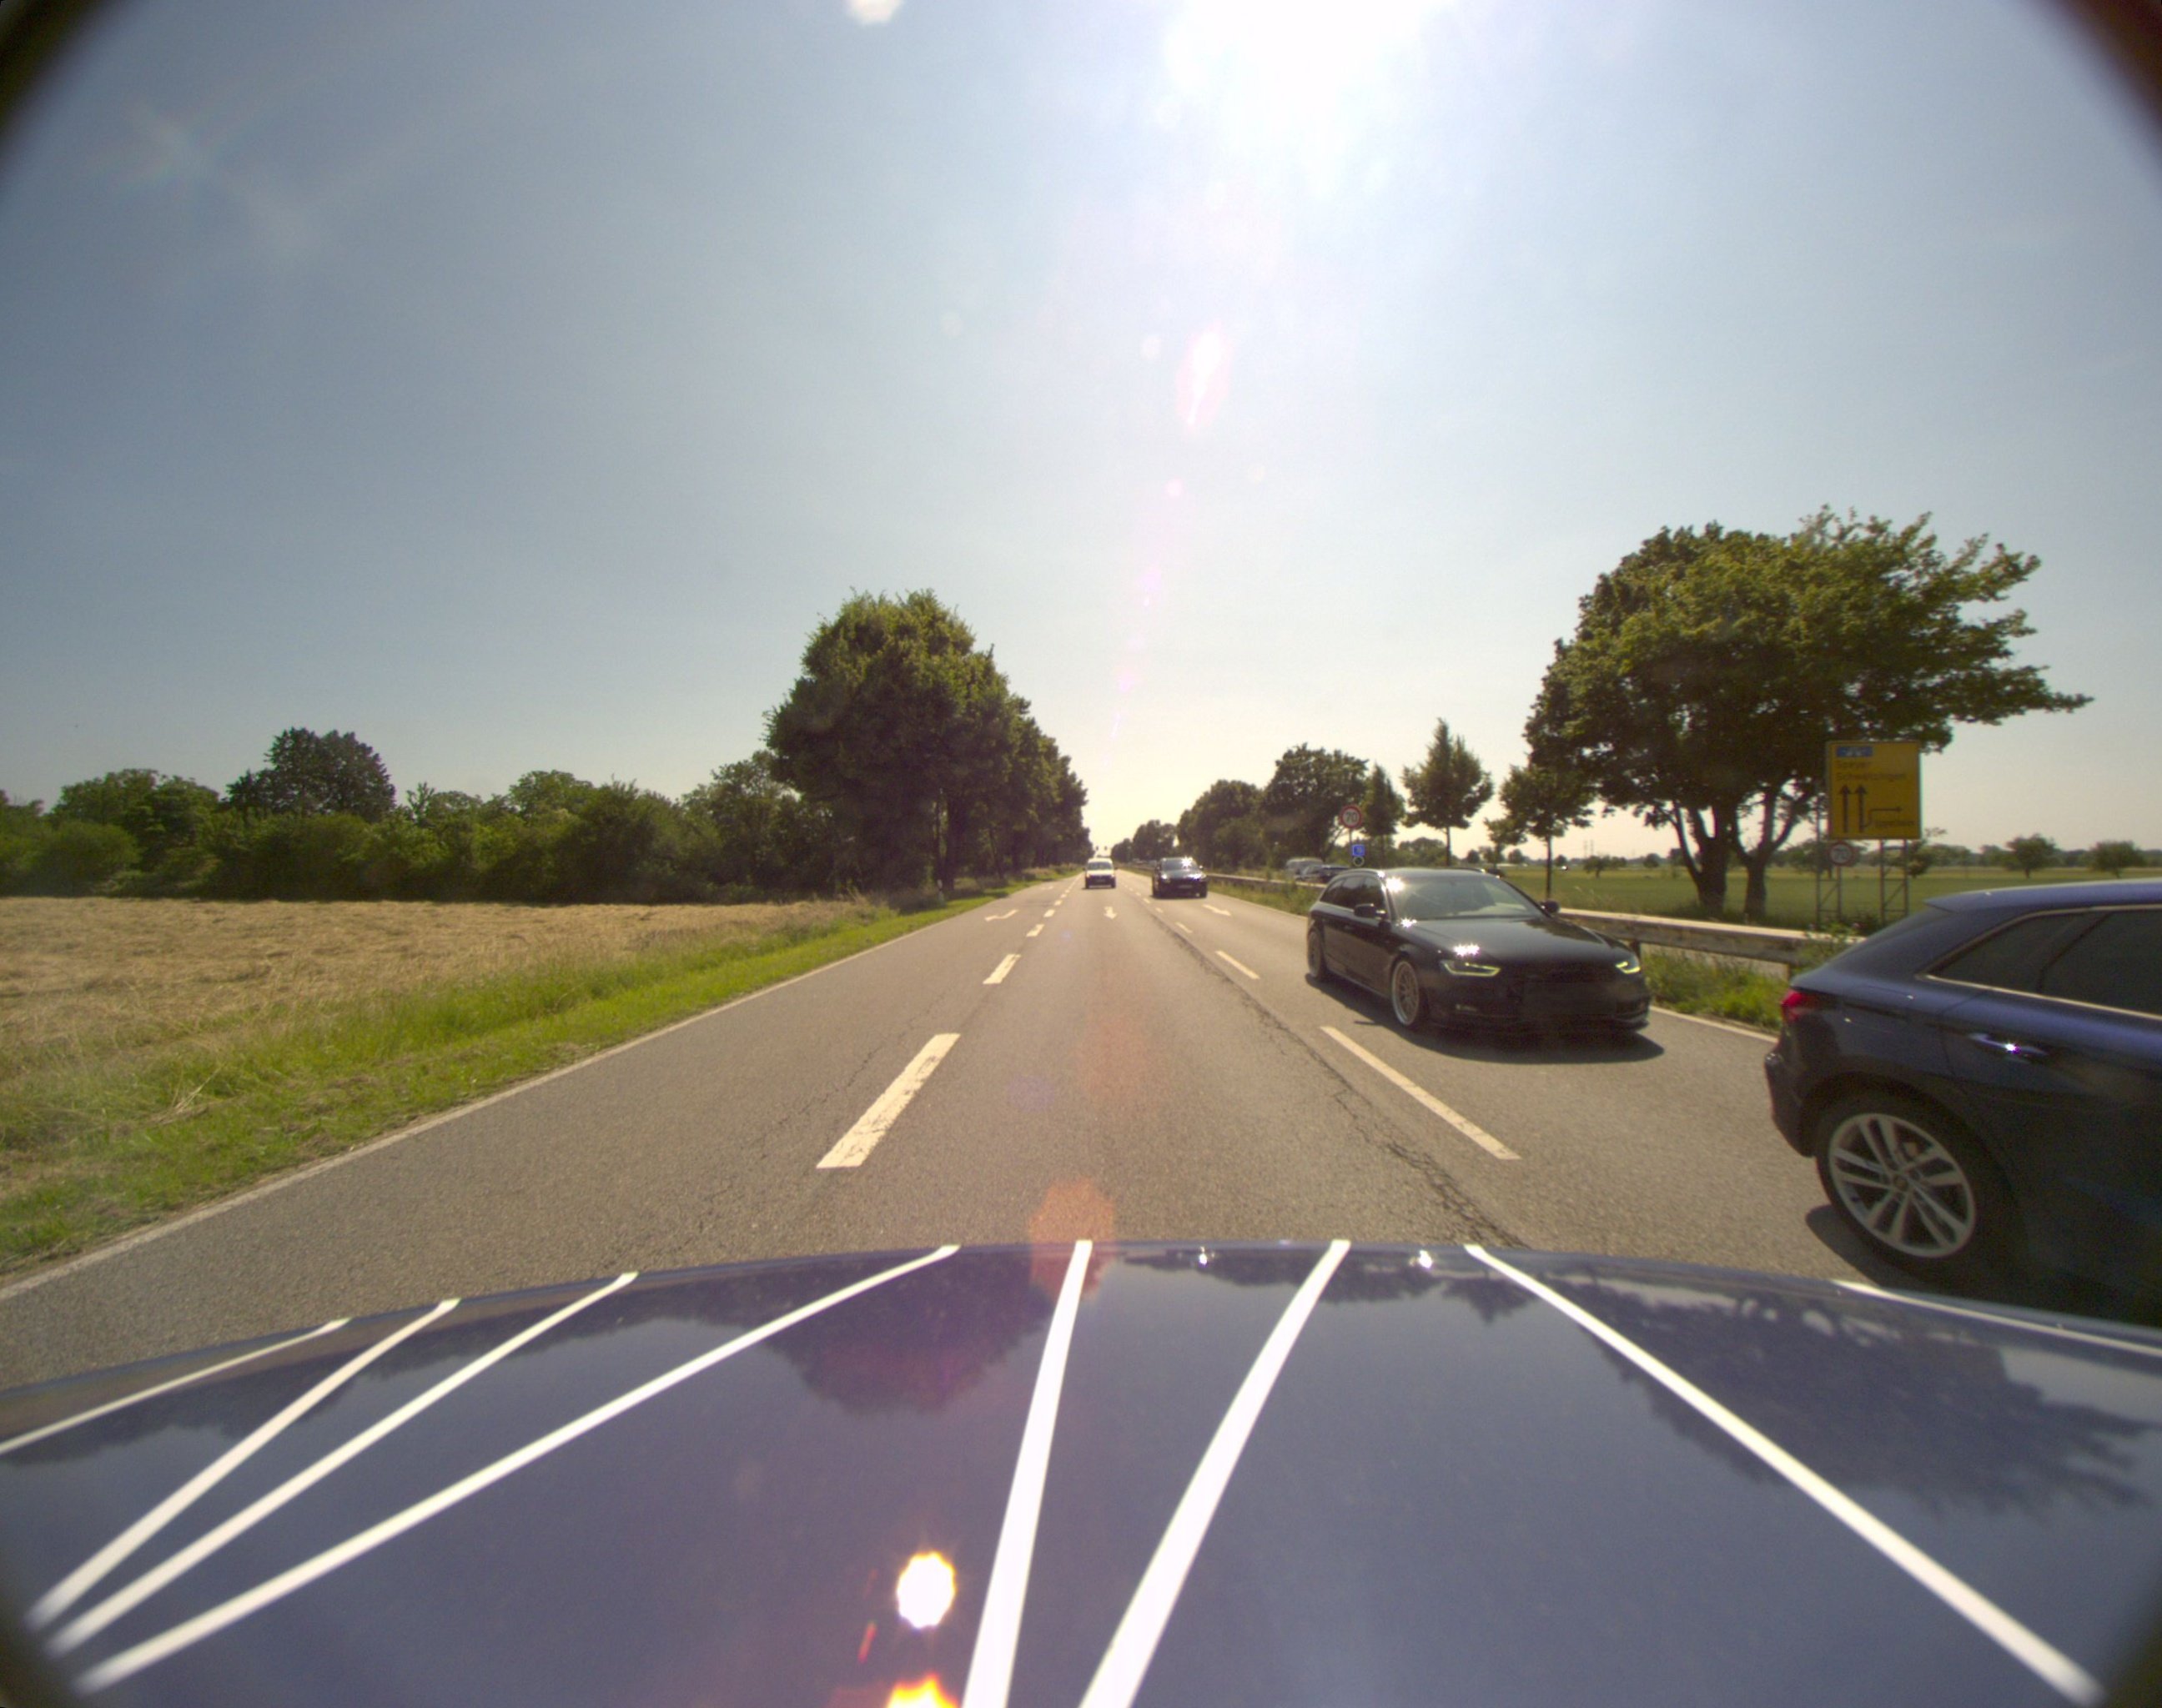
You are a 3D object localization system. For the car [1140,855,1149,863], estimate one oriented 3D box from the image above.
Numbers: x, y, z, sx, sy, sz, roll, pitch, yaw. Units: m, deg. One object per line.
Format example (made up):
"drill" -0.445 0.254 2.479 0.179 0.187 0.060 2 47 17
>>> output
"car" 17.003 1.420 203.907 2.043 2.002 4.532 0 0 0

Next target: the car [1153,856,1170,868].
"car" 11.544 1.185 108.907 1.998 1.653 4.480 0 0 0

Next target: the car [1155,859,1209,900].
"car" 4.116 1.007 31.512 1.860 1.507 4.101 -1 0 3

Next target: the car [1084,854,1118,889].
"car" 1.142 0.959 44.110 1.777 1.863 4.581 -2 0 1

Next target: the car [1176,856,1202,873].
"car" 10.764 1.039 76.067 1.998 1.593 4.481 0 0 0

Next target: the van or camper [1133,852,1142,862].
"van or camper" 17.580 1.007 236.386 2.391 2.931 7.092 0 0 1

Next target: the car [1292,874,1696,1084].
"car" 3.623 0.971 7.755 1.744 1.372 4.455 -2 0 1

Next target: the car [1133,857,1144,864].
"car" 12.421 1.394 163.385 1.998 1.547 4.481 0 0 0

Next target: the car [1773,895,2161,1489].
"car" 3.665 0.902 1.047 1.721 1.456 4.030 -2 0 0

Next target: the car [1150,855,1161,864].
"car" 16.941 1.295 173.132 1.998 1.949 4.927 0 0 0

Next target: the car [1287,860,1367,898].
"car" 10.048 0.986 31.408 1.884 1.446 4.504 0 0 0

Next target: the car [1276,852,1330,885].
"car" 13.822 0.866 47.600 1.998 1.940 4.830 1 0 0
